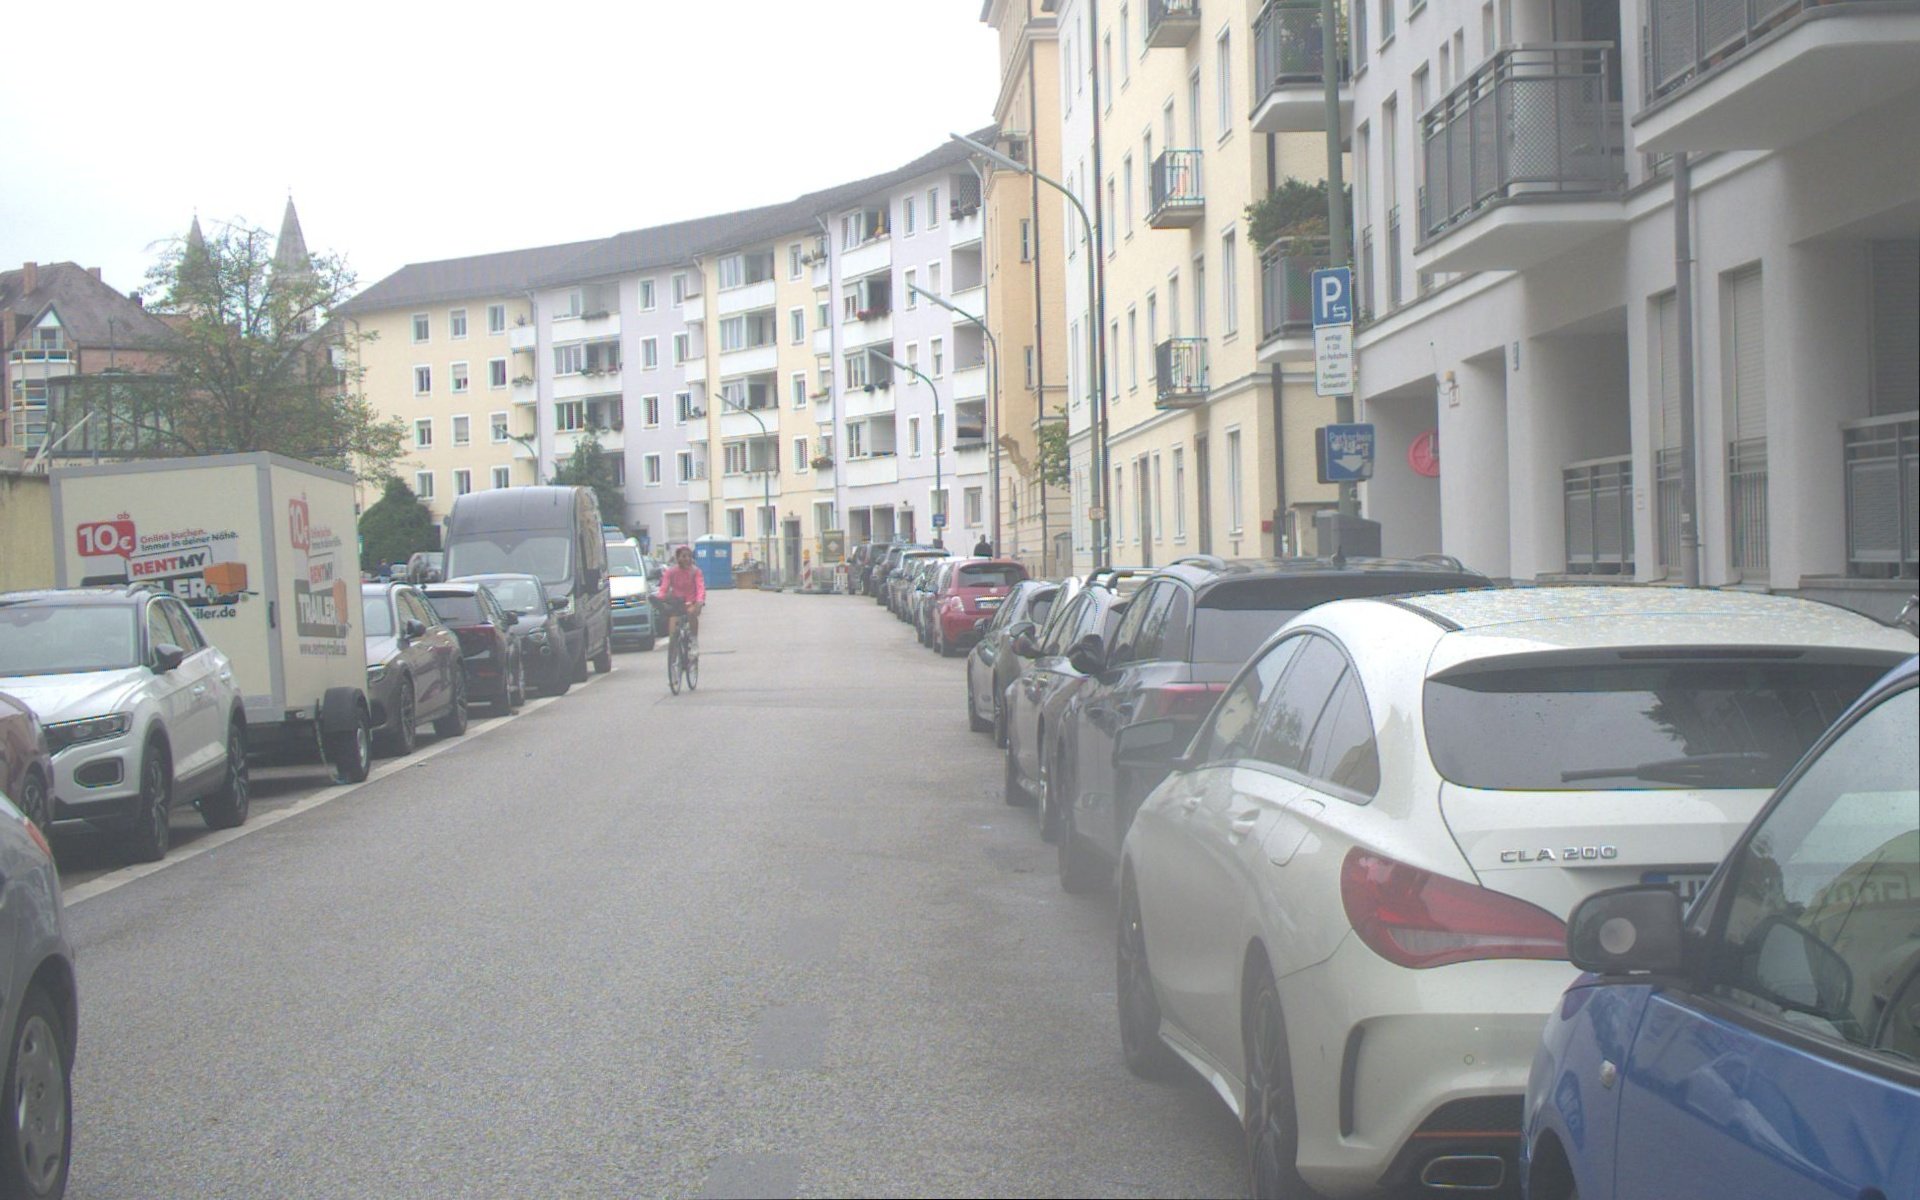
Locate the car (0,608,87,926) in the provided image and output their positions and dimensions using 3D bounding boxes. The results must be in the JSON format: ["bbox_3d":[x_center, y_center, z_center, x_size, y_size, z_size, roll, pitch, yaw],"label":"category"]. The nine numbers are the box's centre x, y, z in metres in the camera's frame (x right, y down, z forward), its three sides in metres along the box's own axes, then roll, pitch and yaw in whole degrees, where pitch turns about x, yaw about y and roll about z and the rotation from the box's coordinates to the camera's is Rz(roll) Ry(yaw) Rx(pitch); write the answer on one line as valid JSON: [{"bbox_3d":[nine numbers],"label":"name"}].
[{"bbox_3d":[-5.221,0.803,14.991,1.860,1.408,4.334,-3,0,-3],"label":"car"}]

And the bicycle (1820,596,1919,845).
[{"bbox_3d":[4.866,0.578,16.820,0.627,1.156,2.128,-2,1,-4],"label":"bicycle"}]

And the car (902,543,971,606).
[{"bbox_3d":[-0.632,-0.684,89.386,1.590,1.577,4.300,0,1,-3],"label":"car"}]

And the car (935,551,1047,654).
[{"bbox_3d":[0.452,0.011,54.096,1.595,1.503,3.801,-1,1,-1],"label":"car"}]

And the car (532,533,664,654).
[{"bbox_3d":[-6.319,-0.155,60.424,1.882,1.925,4.601,-3,1,-2],"label":"car"}]

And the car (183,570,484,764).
[{"bbox_3d":[-5.604,0.549,31.299,1.766,1.533,4.541,-3,1,1],"label":"car"}]

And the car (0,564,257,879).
[{"bbox_3d":[-5.299,0.644,20.020,1.686,1.597,3.922,-3,1,-3],"label":"car"}]

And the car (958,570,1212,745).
[{"bbox_3d":[1.028,0.458,30.270,1.763,1.403,4.079,-1,0,-4],"label":"car"}]

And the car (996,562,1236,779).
[{"bbox_3d":[1.129,0.482,26.168,1.519,1.525,3.527,0,1,-2],"label":"car"}]

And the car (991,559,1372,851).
[{"bbox_3d":[1.203,0.535,20.653,1.734,1.525,4.622,1,1,-3],"label":"car"}]

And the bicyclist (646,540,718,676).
[{"bbox_3d":[-3.267,0.083,40.497,0.694,1.556,0.966,-2,1,1],"label":"bicyclist"}]

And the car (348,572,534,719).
[{"bbox_3d":[-5.638,0.456,37.692,1.700,1.441,3.825,-1,2,-4],"label":"car"}]

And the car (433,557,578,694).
[{"bbox_3d":[-5.602,0.283,42.692,1.585,1.533,3.544,-2,1,-5],"label":"car"}]

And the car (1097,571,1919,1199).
[{"bbox_3d":[1.368,0.671,8.461,1.658,1.435,4.207,1,1,-3],"label":"car"}]

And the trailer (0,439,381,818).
[{"bbox_3d":[-5.567,0.152,25.308,1.709,2.453,4.386,-3,1,0],"label":"trailer"}]

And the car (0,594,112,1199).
[{"bbox_3d":[-2.758,0.724,6.176,1.581,1.406,3.613,-2,0,-1],"label":"car"}]

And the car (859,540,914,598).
[{"bbox_3d":[-2.137,-0.904,99.382,1.474,1.635,4.001,0,1,-3],"label":"car"}]

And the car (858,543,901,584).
[{"bbox_3d":[-2.602,-1.180,111.038,1.272,1.294,2.798,-1,1,-3],"label":"car"}]

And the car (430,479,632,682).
[{"bbox_3d":[-5.902,-0.321,47.931,2.088,2.627,5.377,-1,1,0],"label":"car"}]

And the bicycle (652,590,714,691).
[{"bbox_3d":[-3.259,0.465,40.512,0.504,1.124,1.773,-2,1,1],"label":"bicycle"}]

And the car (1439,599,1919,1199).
[{"bbox_3d":[1.734,0.727,4.112,1.618,1.407,3.554,1,0,-3],"label":"car"}]

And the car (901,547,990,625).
[{"bbox_3d":[-0.318,-0.300,70.003,1.599,1.486,3.799,-1,1,-3],"label":"car"}]

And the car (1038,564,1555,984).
[{"bbox_3d":[1.299,0.630,14.767,1.603,1.525,3.985,1,1,-3],"label":"car"}]
